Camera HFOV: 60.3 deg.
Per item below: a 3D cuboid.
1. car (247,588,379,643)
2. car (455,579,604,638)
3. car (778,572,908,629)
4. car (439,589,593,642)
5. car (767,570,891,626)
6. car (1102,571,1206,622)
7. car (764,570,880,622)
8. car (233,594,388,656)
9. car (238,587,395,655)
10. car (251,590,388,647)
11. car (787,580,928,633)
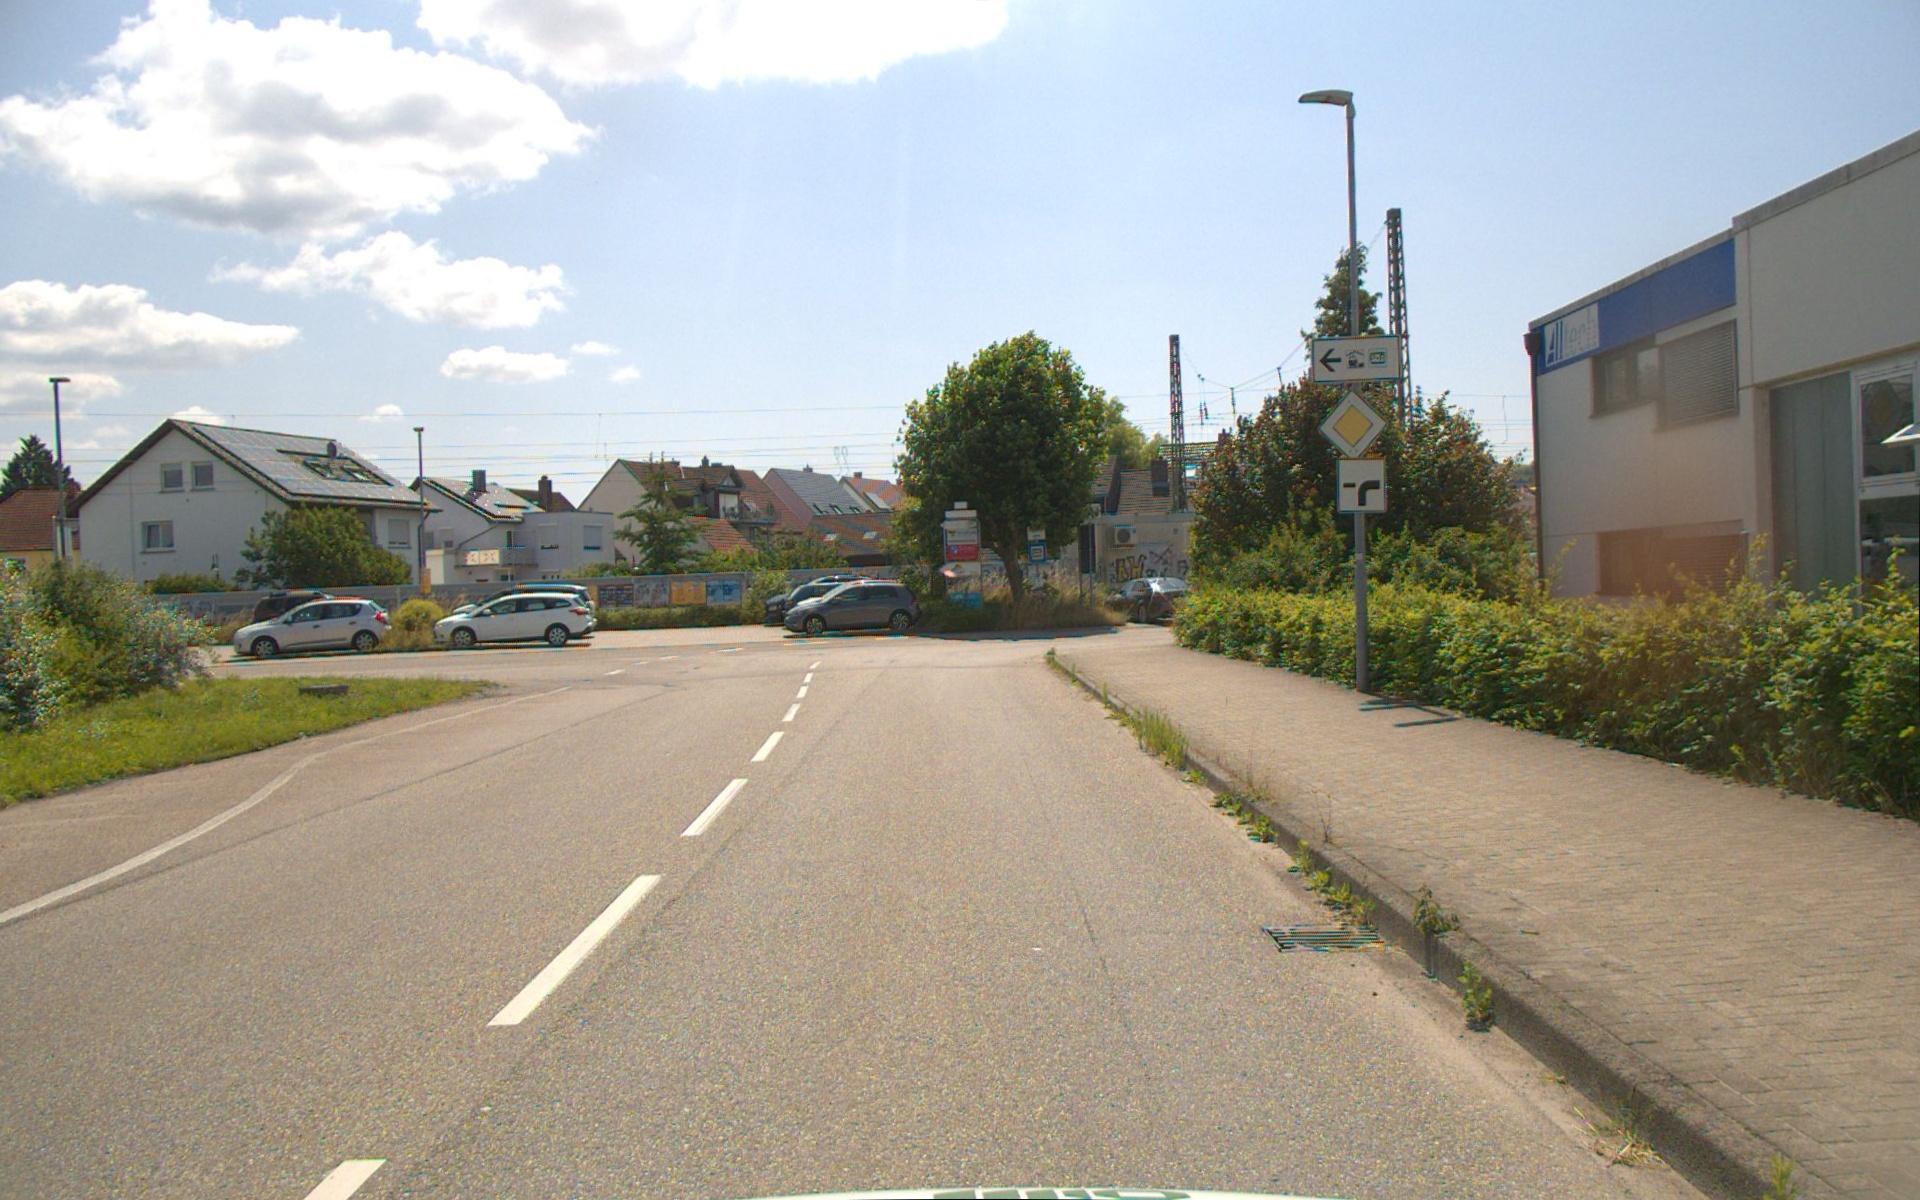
[{"bbox_3d":[-20.870,0.480,53.498,3.769,1.617,1.491,-2,1,-16],"label":"car"},{"bbox_3d":[-13.635,0.244,52.662,4.370,1.720,1.996,-2,2,-9],"label":"car"},{"bbox_3d":[-3.719,0.025,52.263,3.915,1.614,1.776,-2,0,-10],"label":"car"},{"bbox_3d":[-12.824,0.443,48.028,4.208,1.502,1.821,0,0,-13],"label":"car"},{"bbox_3d":[-4.378,-0.068,55.044,3.915,1.686,1.995,-2,1,-10],"label":"car"},{"bbox_3d":[6.243,-0.152,53.576,1.726,1.410,3.977,-1,4,-21],"label":"car"},{"bbox_3d":[-4.830,-0.141,57.659,3.915,1.760,1.766,0,0,-10],"label":"car"},{"bbox_3d":[-18.324,0.691,46.829,3.940,1.589,1.813,-2,0,-19],"label":"car"},{"bbox_3d":[-18.935,0.598,48.884,4.096,1.667,1.946,-4,1,-18],"label":"car"},{"bbox_3d":[-19.847,0.553,51.415,3.719,1.585,1.688,-2,1,-14],"label":"car"},{"bbox_3d":[-3.119,0.202,50.157,4.110,1.488,1.661,-1,0,-9],"label":"car"}]
